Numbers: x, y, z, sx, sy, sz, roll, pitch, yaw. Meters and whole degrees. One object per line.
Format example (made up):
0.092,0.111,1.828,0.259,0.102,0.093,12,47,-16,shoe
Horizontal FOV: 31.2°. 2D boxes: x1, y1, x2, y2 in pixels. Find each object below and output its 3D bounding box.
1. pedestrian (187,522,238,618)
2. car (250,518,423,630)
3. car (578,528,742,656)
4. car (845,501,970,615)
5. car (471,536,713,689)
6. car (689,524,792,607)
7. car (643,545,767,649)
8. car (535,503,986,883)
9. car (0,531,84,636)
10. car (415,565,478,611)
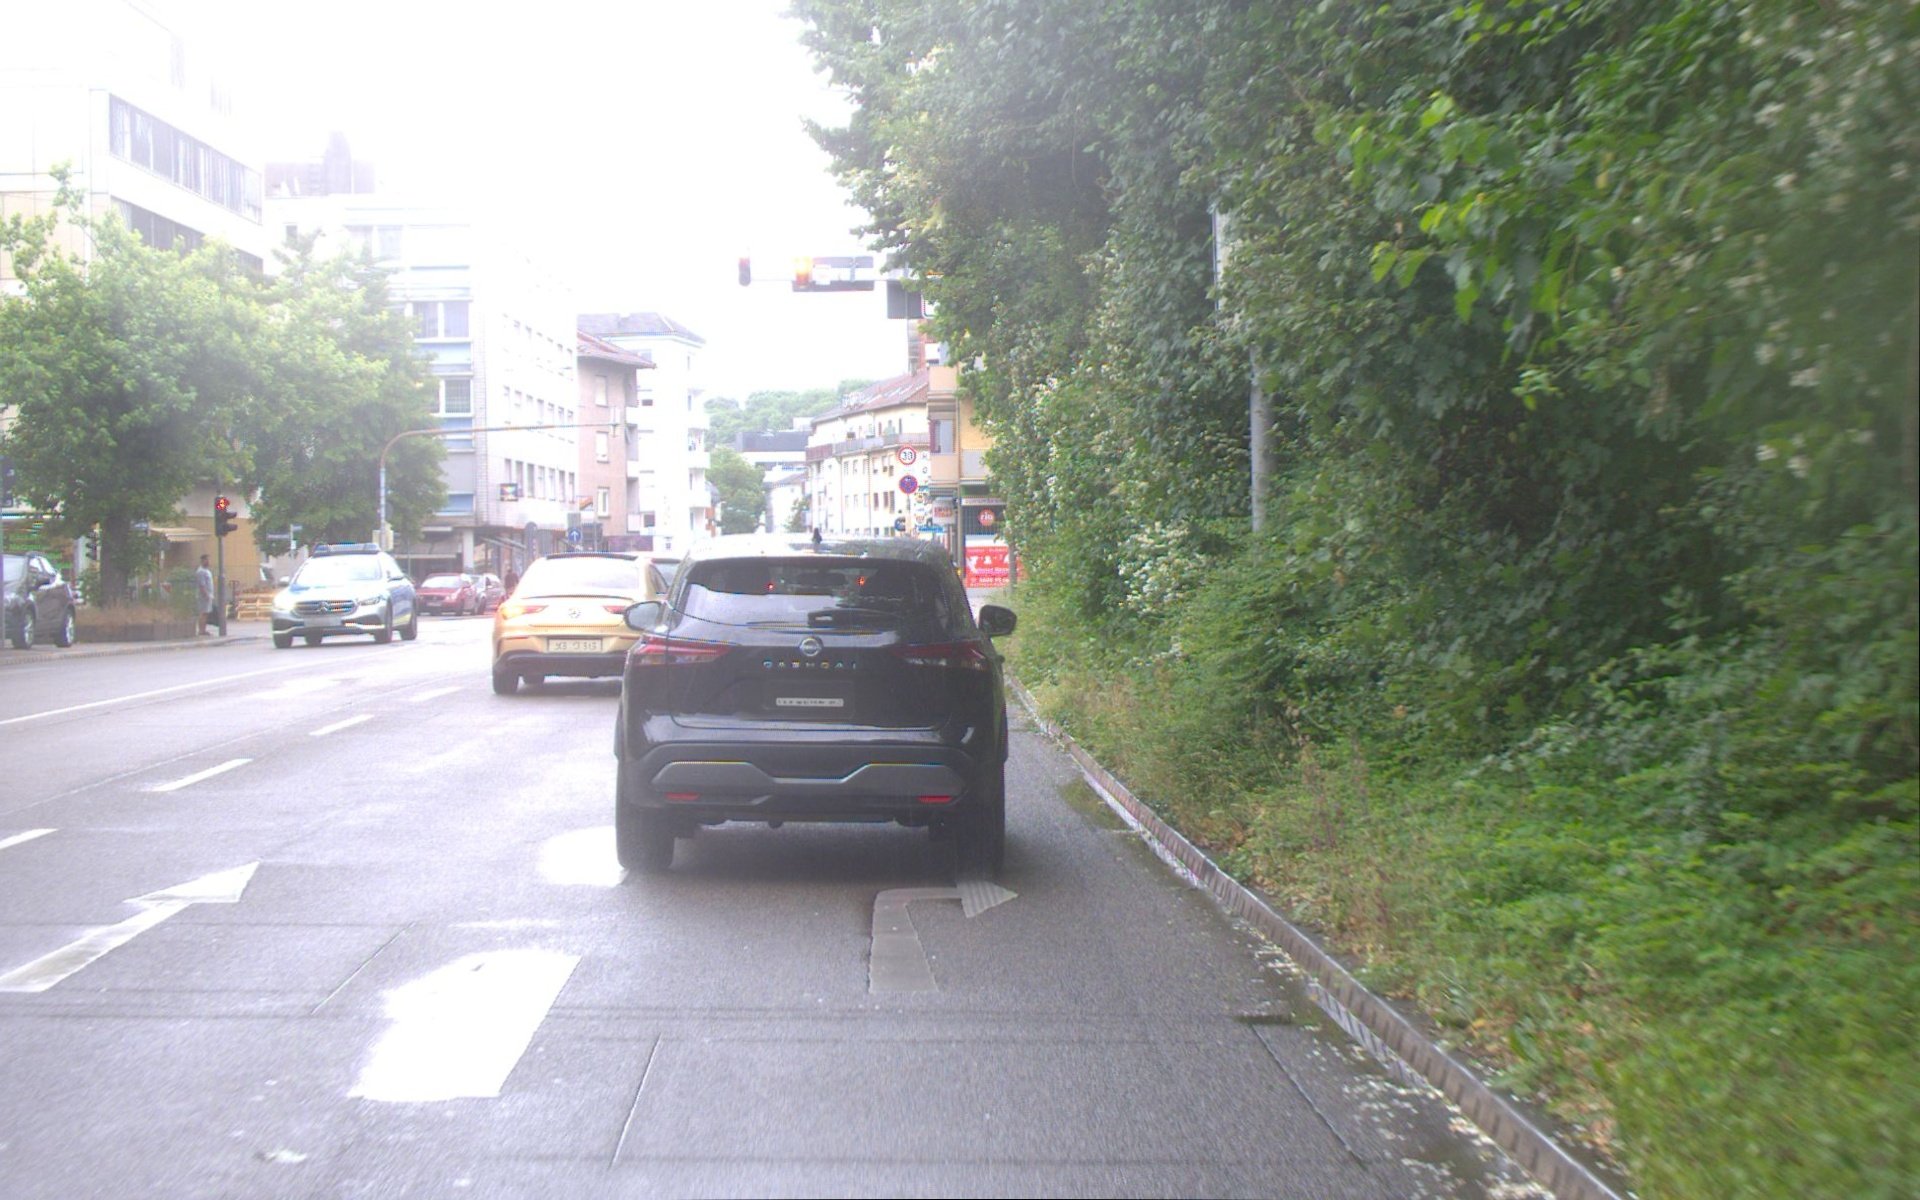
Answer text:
-15.965,-0.642,73.425,0.940,2.007,0.887,-2,1,-10,pedestrian
-10.147,-0.462,56.314,1.993,1.744,4.808,-1,1,-1,car
-3.712,-0.129,43.127,1.743,1.482,4.162,-1,1,-1,car
-0.930,-0.787,62.938,1.994,2.007,4.000,-1,1,3,car
-3.777,0.078,36.031,2.066,1.459,4.587,-1,1,0,car
-3.969,-0.657,62.642,1.767,1.439,4.001,-1,1,-3,car
-3.663,-0.071,49.843,1.613,1.415,3.967,0,1,-2,car
-0.945,0.367,17.106,1.959,1.647,4.001,-1,1,-2,car
-16.138,-0.307,58.235,1.539,1.700,4.287,0,1,-1,car
-17.339,-0.413,116.236,1.672,1.473,3.608,-2,1,-2,car
